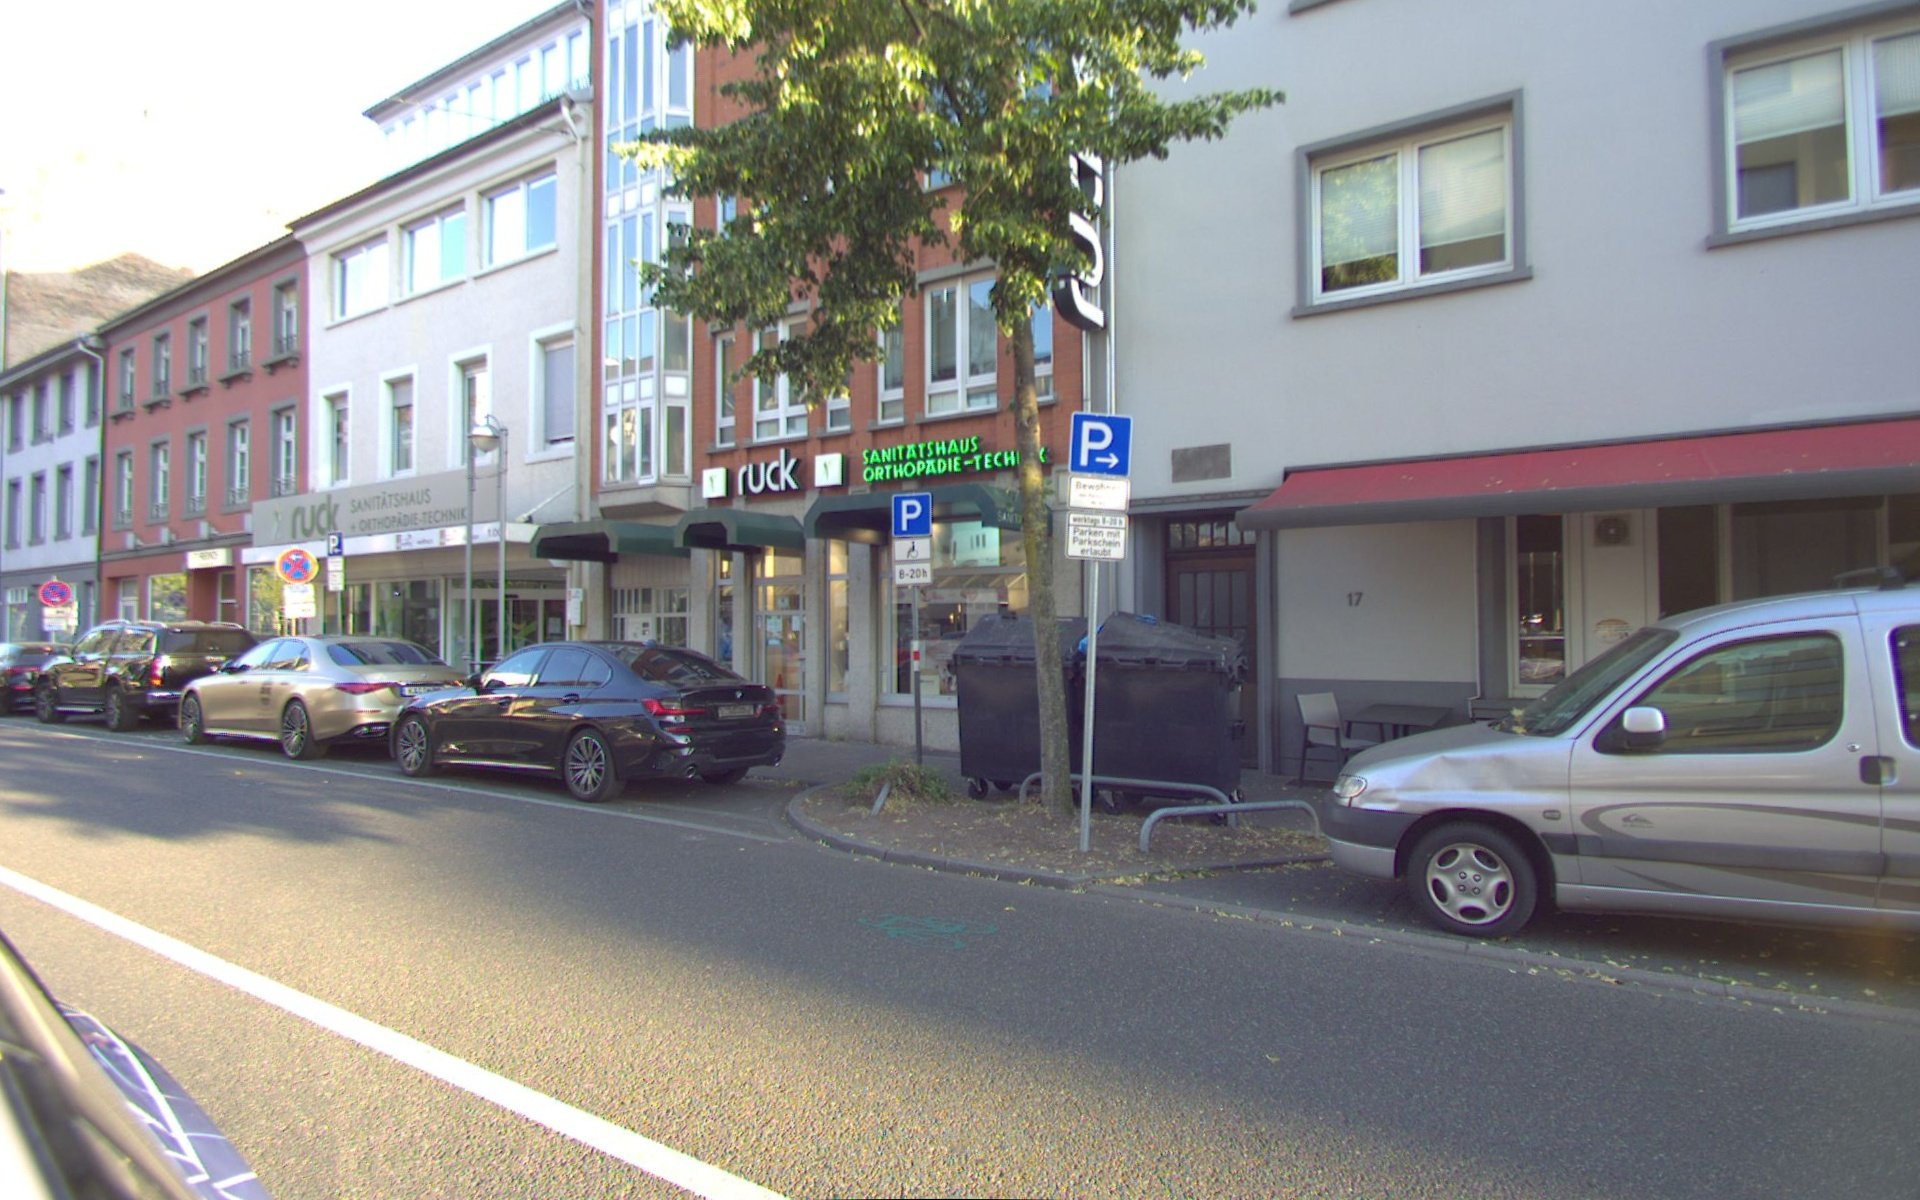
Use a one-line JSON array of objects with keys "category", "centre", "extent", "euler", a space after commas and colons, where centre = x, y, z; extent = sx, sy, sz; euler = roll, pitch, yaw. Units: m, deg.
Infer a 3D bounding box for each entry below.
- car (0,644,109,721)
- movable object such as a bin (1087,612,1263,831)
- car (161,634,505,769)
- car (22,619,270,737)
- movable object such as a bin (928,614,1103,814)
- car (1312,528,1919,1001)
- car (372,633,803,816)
[{"category": "car", "centre": [-19.302, 1.649, 20.711], "extent": [4.001, 1.448, 1.688], "euler": [-2, -5, 32]}, {"category": "movable object such as a bin", "centre": [1.754, 0.929, 8.257], "extent": [1.203, 1.632, 0.775], "euler": [-1, 0, 30]}, {"category": "car", "centre": [-8.435, 1.247, 13.452], "extent": [5.094, 1.484, 1.977], "euler": [-2, -4, 34]}, {"category": "car", "centre": [-14.036, 1.287, 17.371], "extent": [4.921, 1.793, 1.708], "euler": [-2, -4, 31]}, {"category": "movable object such as a bin", "centre": [0.490, 0.959, 9.010], "extent": [1.331, 1.632, 0.775], "euler": [-1, -1, 30]}, {"category": "car", "centre": [3.990, 0.708, 4.981], "extent": [4.038, 1.902, 1.657], "euler": [-1, -4, 31]}, {"category": "car", "centre": [-3.859, 1.120, 10.211], "extent": [4.528, 1.484, 1.706], "euler": [-2, -5, 33]}]
